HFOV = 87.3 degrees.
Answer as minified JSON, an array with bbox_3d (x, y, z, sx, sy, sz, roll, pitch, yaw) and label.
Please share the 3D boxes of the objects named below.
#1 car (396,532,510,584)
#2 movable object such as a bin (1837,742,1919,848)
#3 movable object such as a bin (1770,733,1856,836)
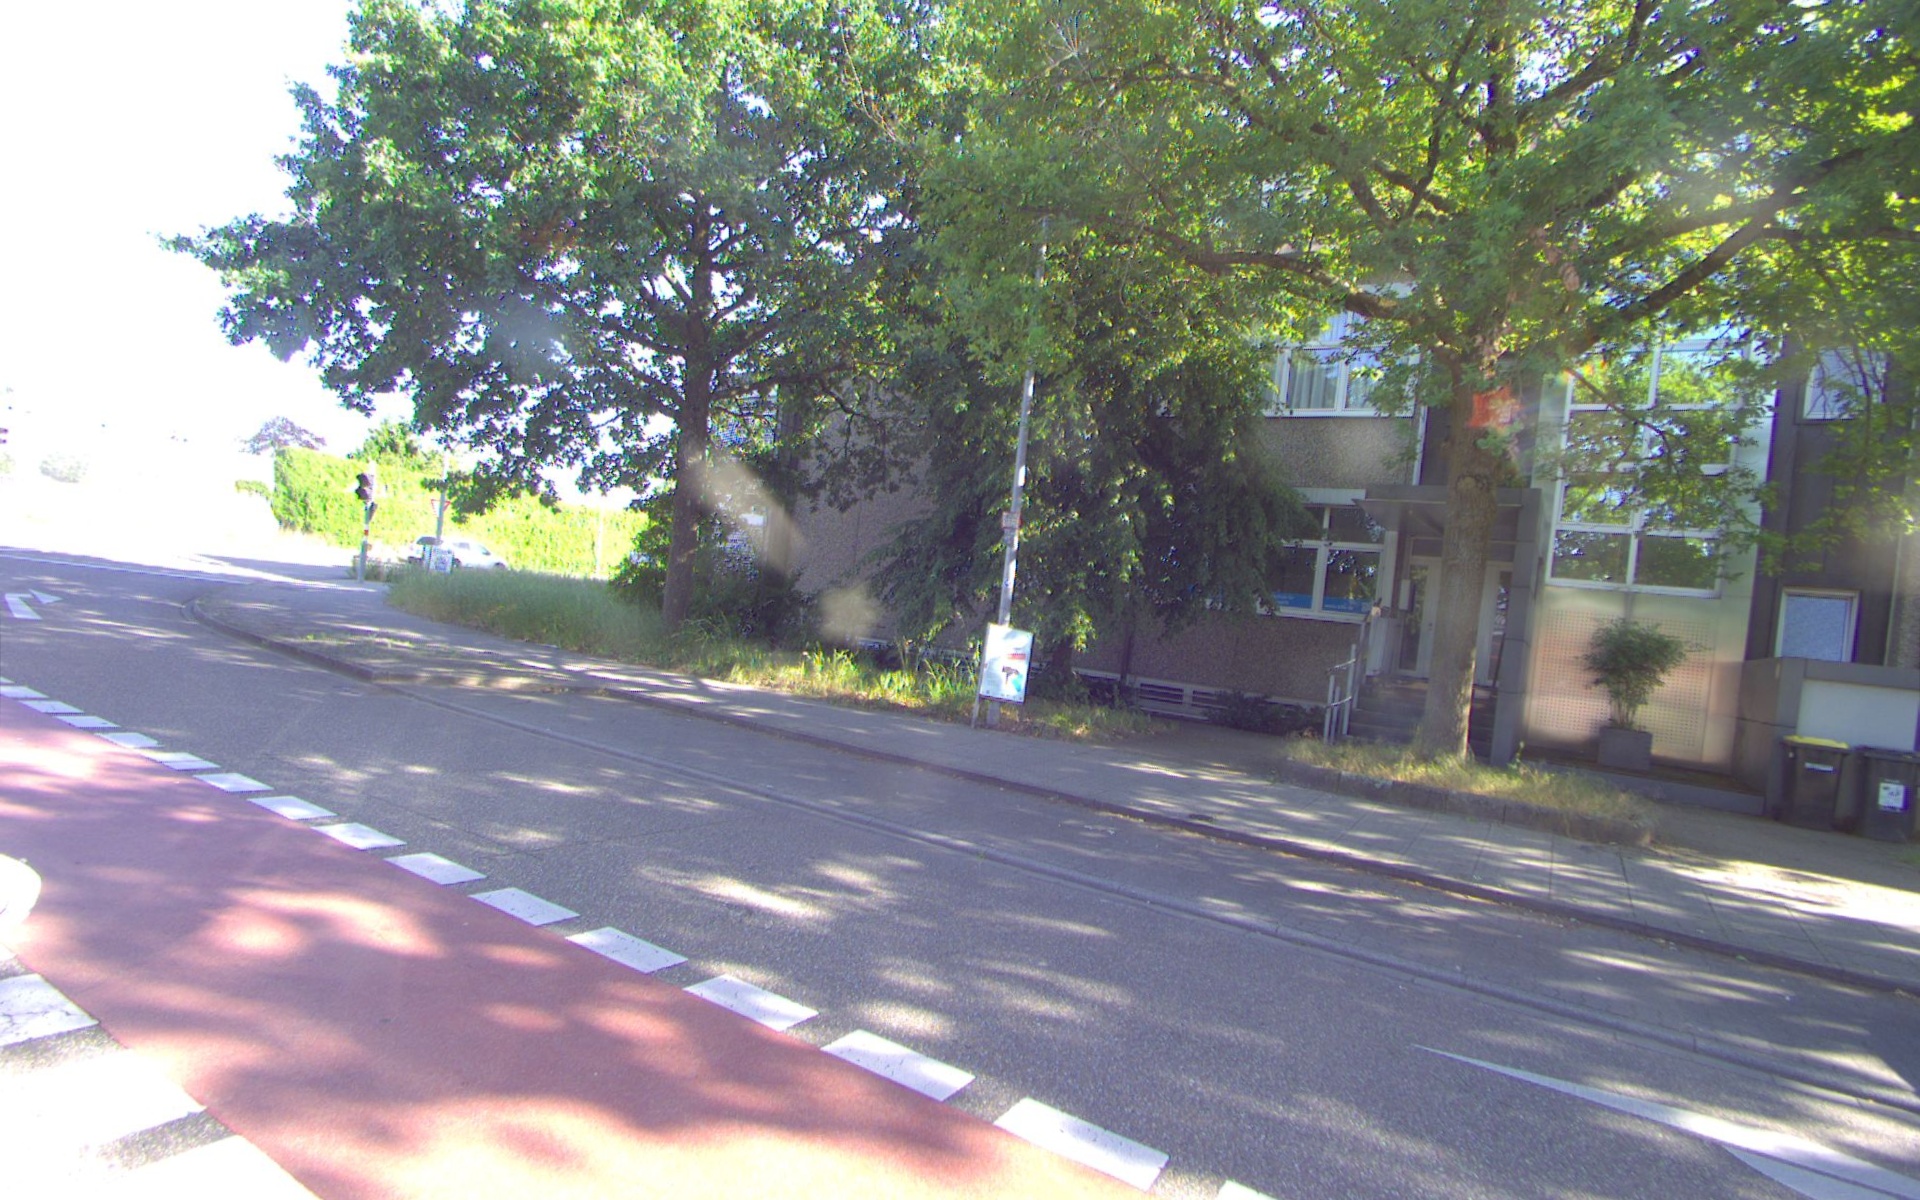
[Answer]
[{"bbox_3d":[-20.336,-1.659,40.570,1.690,1.627,4.068,8,1,15],"label":"car"},{"bbox_3d":[10.757,2.251,11.721,0.605,1.075,0.634,6,0,30],"label":"movable object such as a bin"},{"bbox_3d":[10.169,2.183,12.014,0.575,1.070,0.625,7,0,30],"label":"movable object such as a bin"}]
